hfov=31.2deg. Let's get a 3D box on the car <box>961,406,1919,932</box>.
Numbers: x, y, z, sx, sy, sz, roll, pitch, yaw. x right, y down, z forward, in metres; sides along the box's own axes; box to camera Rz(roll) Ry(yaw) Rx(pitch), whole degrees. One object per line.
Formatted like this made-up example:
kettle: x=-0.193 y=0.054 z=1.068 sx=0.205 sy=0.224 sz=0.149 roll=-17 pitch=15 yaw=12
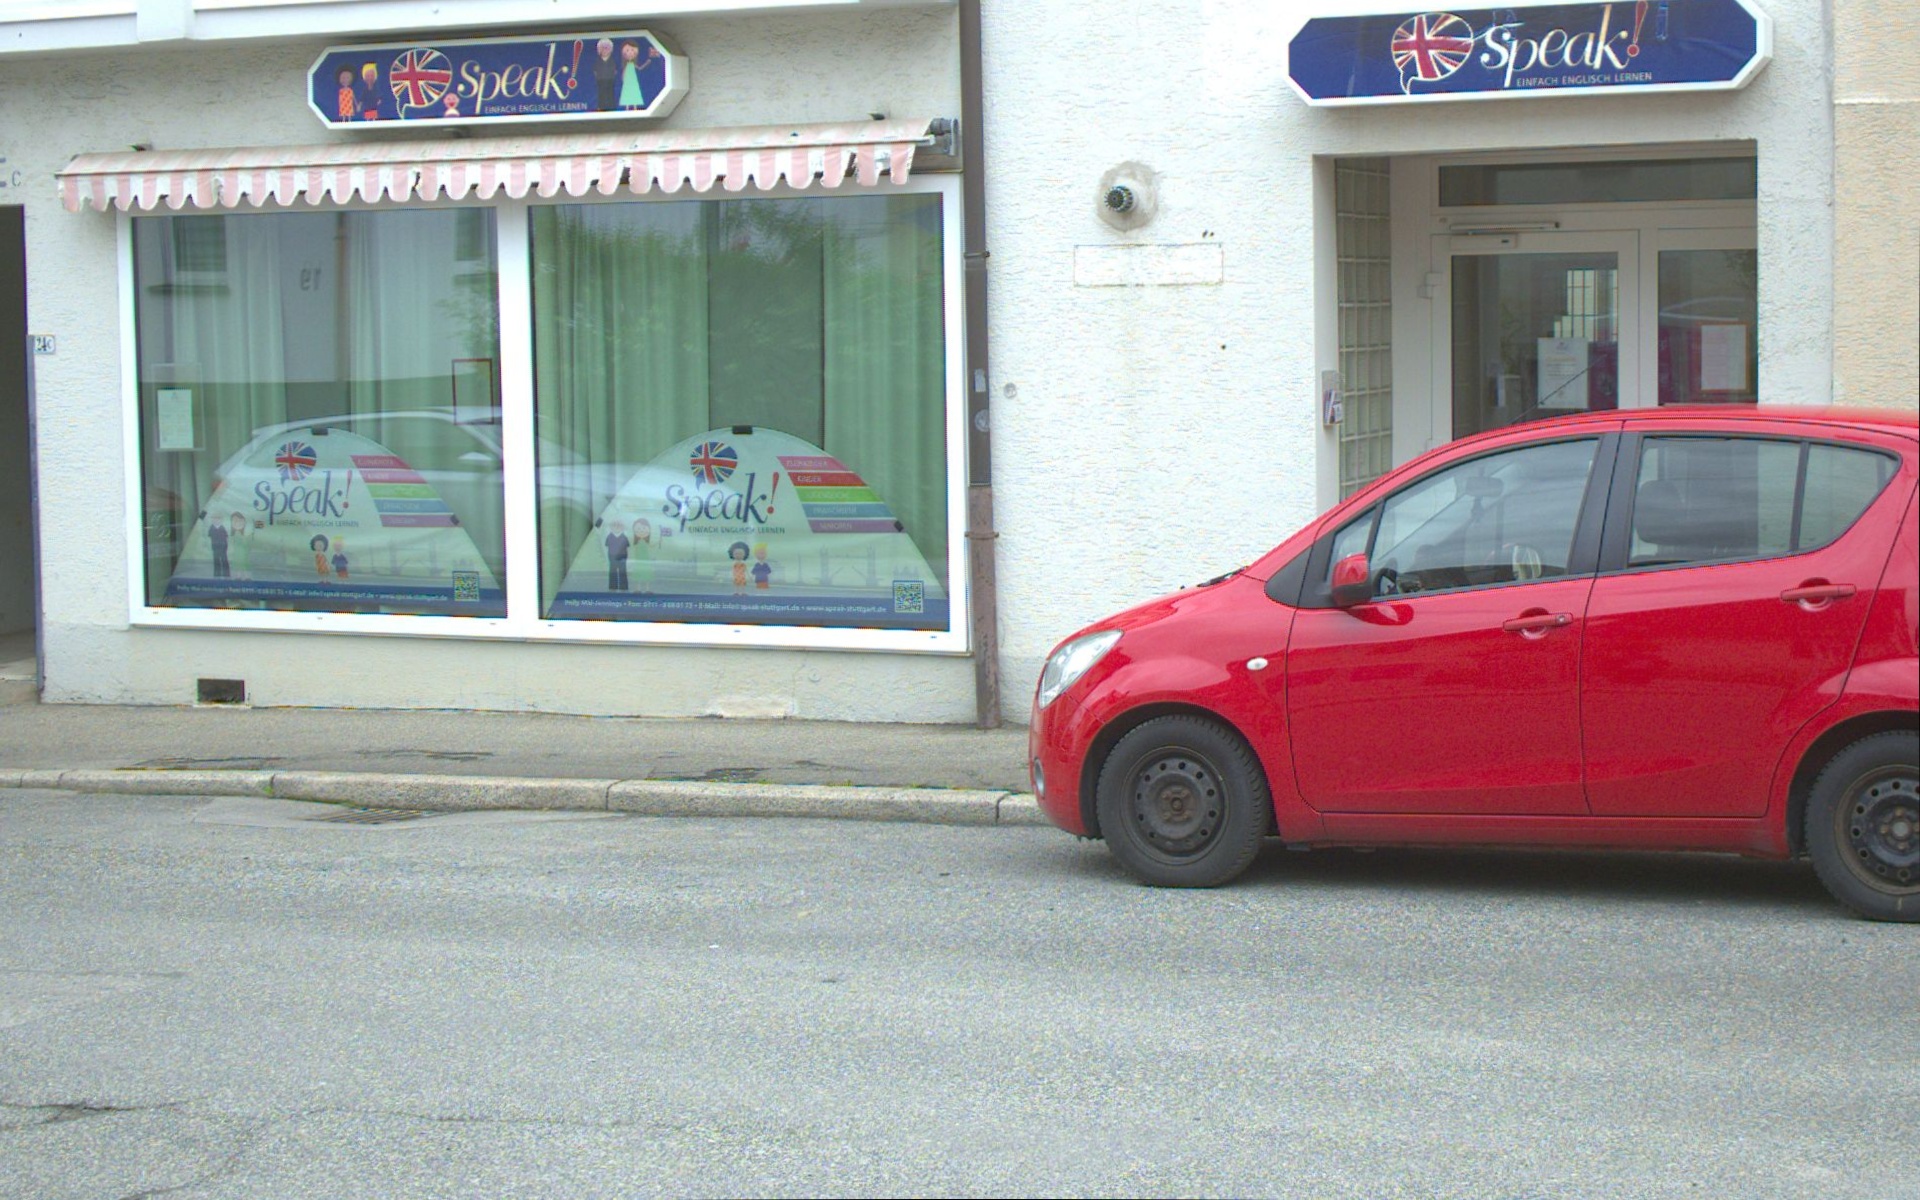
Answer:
car: x=2.033 y=0.170 z=11.494 sx=3.688 sy=1.551 sz=1.695 roll=0 pitch=2 yaw=27
